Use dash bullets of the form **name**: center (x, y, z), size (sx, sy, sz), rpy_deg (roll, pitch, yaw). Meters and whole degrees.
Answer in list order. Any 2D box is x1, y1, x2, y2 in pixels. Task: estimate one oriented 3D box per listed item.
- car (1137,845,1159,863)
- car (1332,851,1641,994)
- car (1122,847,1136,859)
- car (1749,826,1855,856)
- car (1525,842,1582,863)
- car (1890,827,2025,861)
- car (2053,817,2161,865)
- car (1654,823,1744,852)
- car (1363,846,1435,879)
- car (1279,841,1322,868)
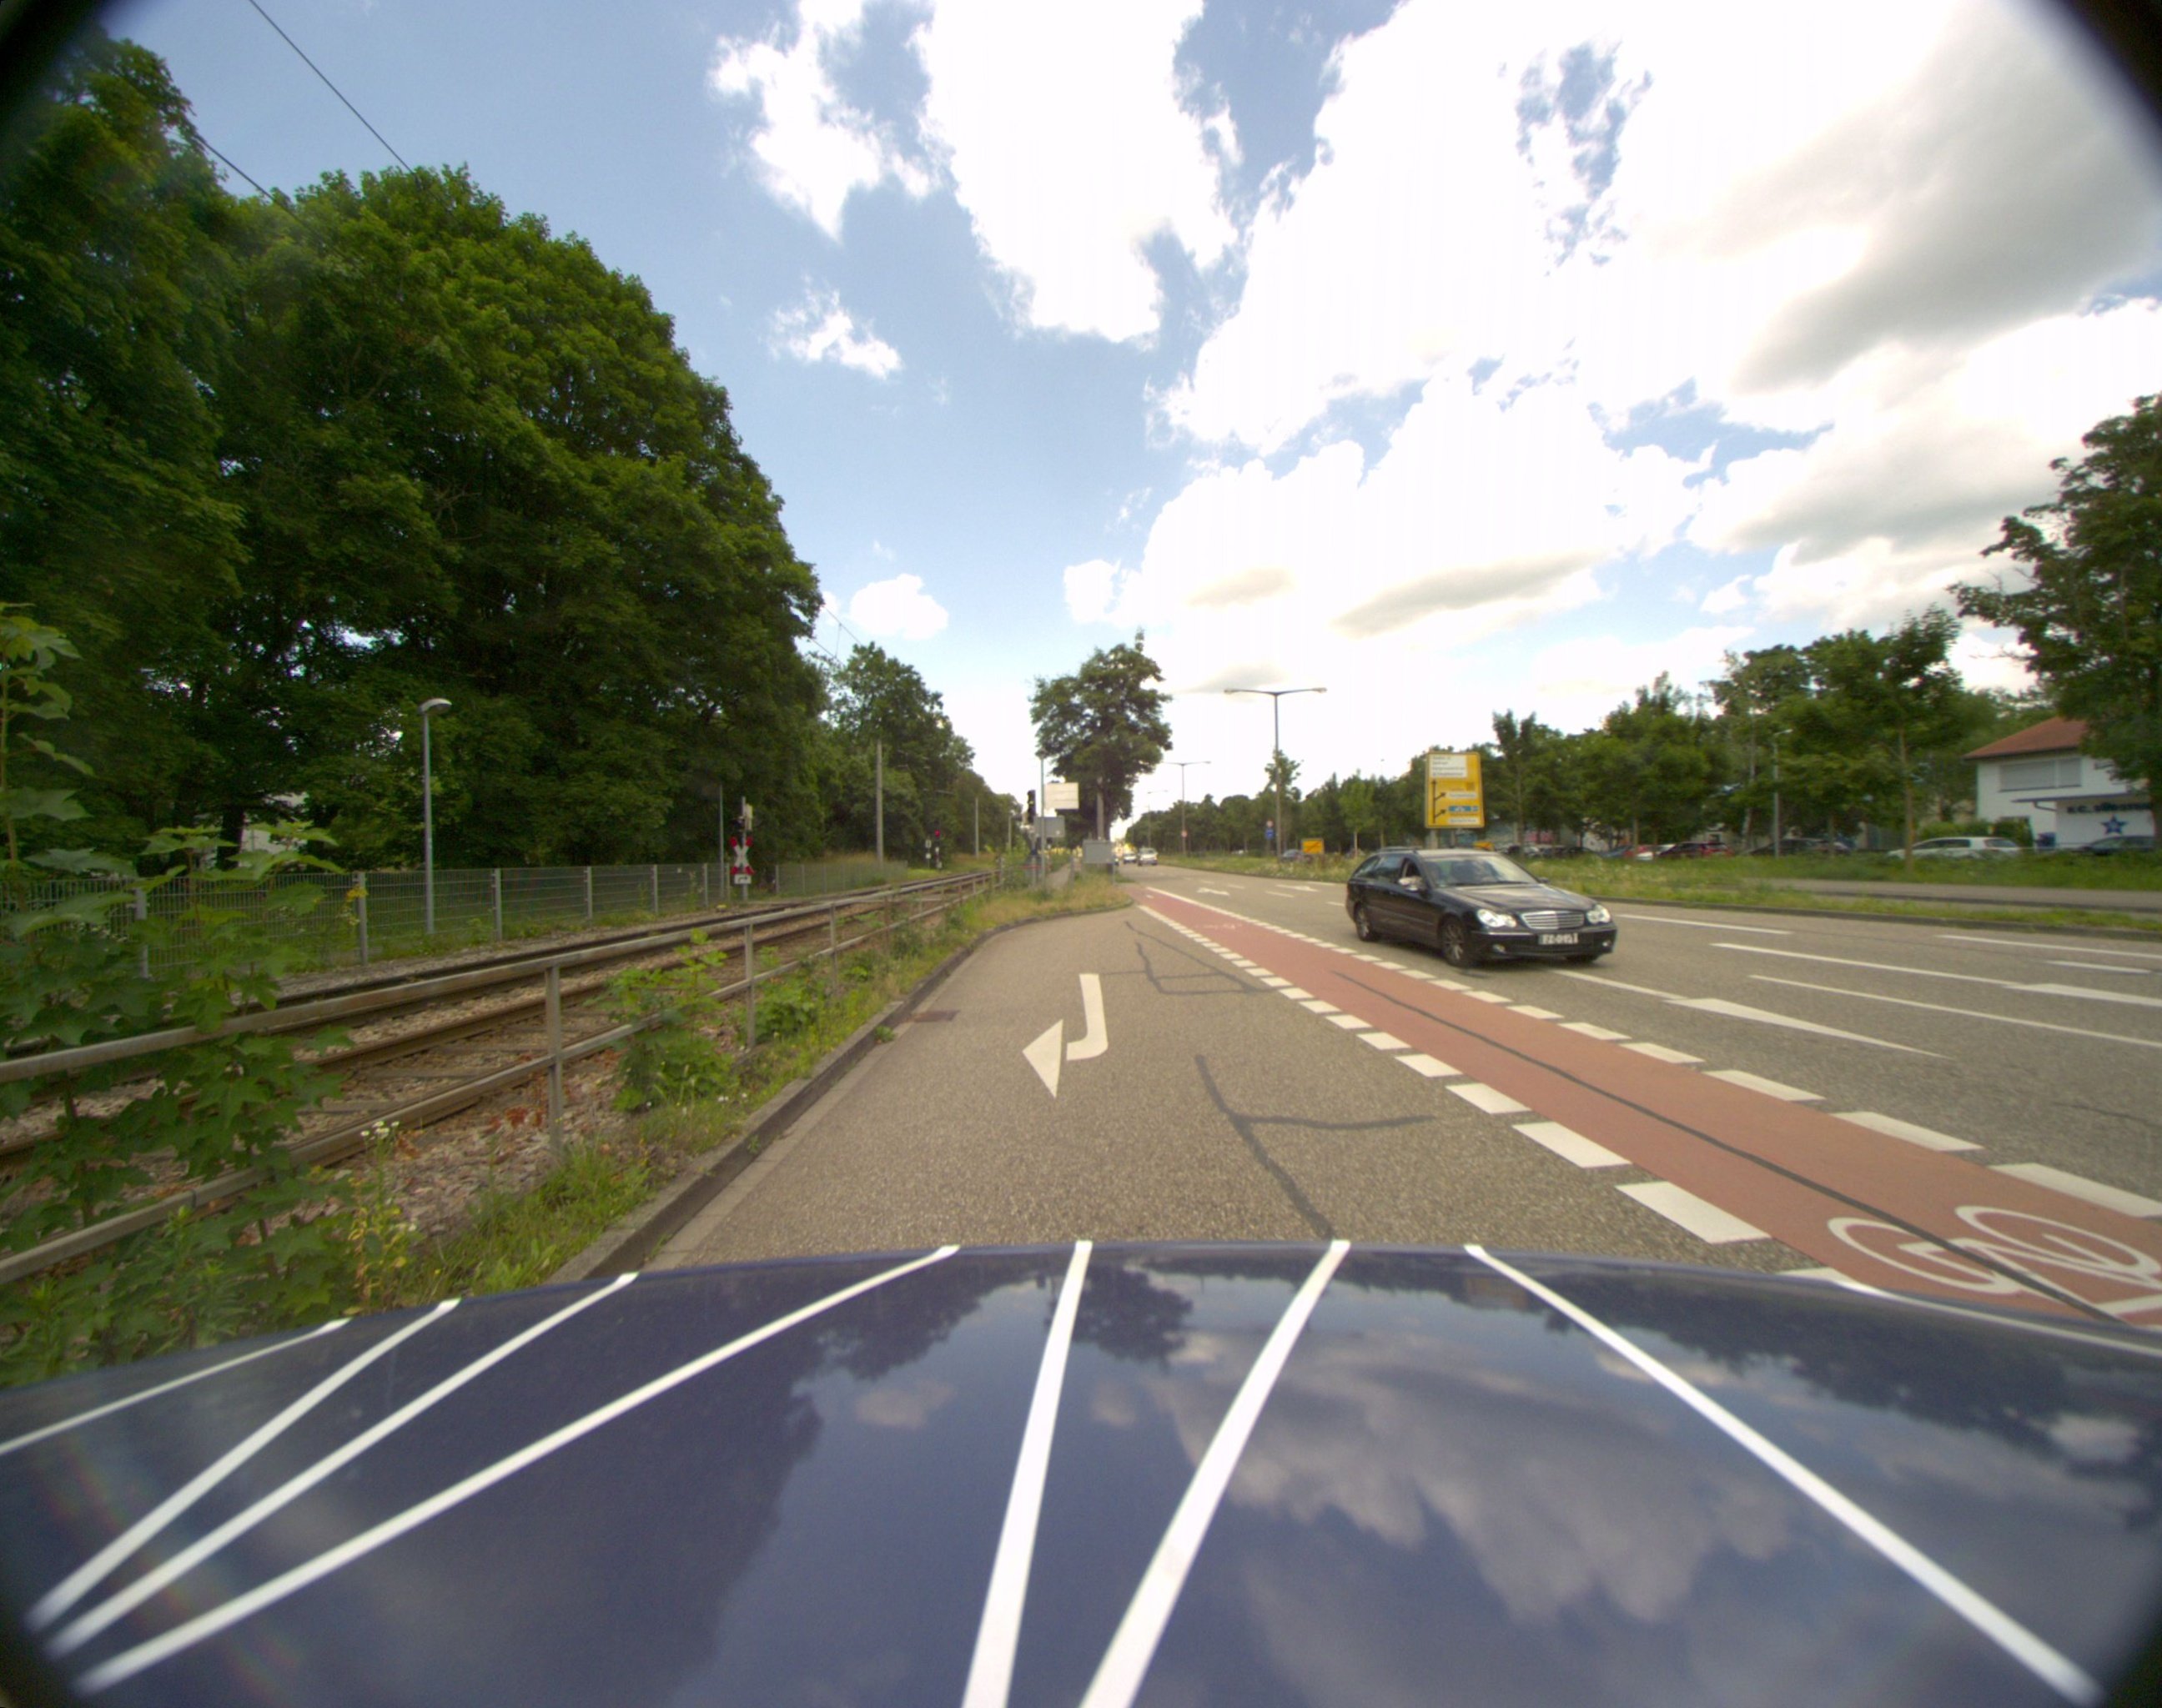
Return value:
- **car**: center (7.551, -0.038, 86.119), size (1.818, 1.907, 5.231), rpy_deg (-1, 1, -2)
- **car**: center (5.171, 0.739, 10.514), size (1.759, 1.457, 4.432), rpy_deg (-2, 1, -2)
- **car**: center (6.974, -0.161, 110.506), size (1.747, 1.775, 4.156), rpy_deg (-2, 1, 1)
- **car**: center (36.148, -0.612, 38.245), size (1.729, 1.403, 3.866), rpy_deg (-1, 0, 1)
- **car**: center (36.934, -0.125, 59.507), size (1.998, 1.578, 4.023), rpy_deg (-1, 0, 1)
- **car**: center (36.243, -0.402, 31.546), size (1.625, 1.324, 3.476), rpy_deg (-1, 0, 1)
- **car**: center (36.505, -0.437, 25.842), size (1.762, 1.578, 4.023), rpy_deg (-1, 0, 1)
- **car**: center (36.171, -0.943, 44.613), size (1.998, 1.578, 4.023), rpy_deg (-1, 0, 1)
- **car**: center (14.735, 0.382, 35.386), size (1.686, 1.437, 3.692), rpy_deg (-1, 0, -2)
- **car**: center (16.868, 0.021, 58.479), size (1.999, 2.002, 3.999), rpy_deg (-1, 0, -2)
